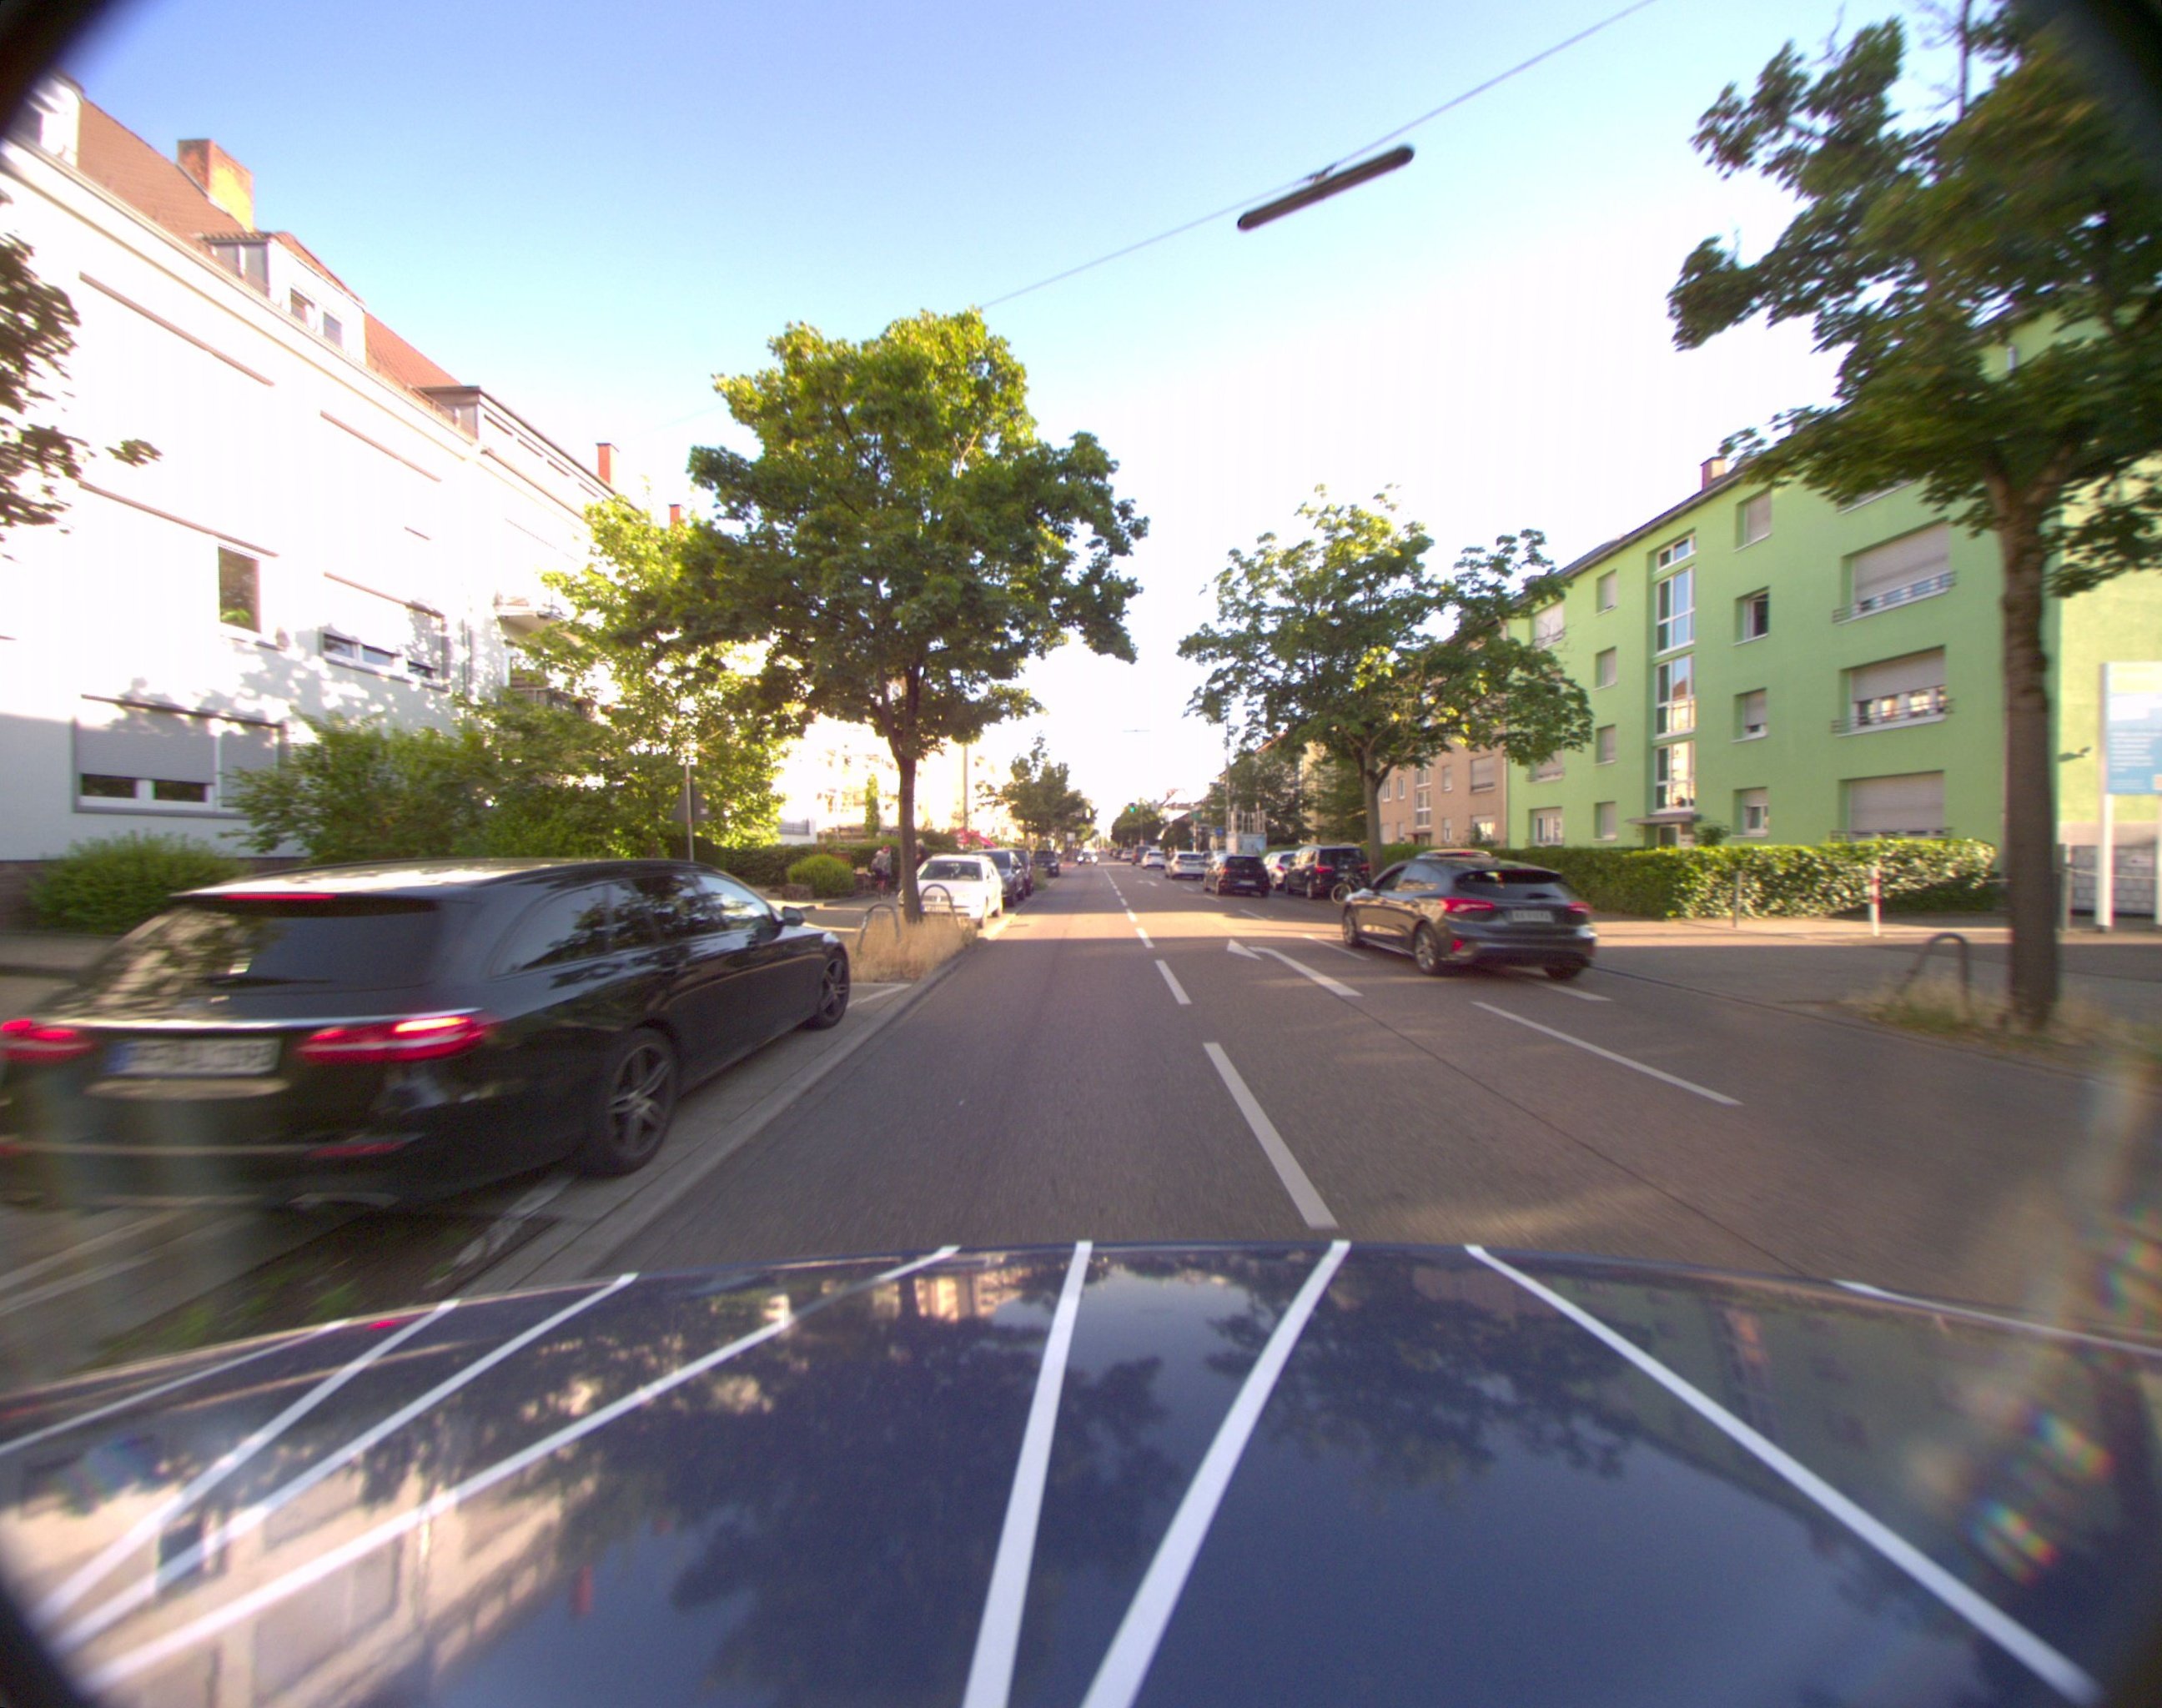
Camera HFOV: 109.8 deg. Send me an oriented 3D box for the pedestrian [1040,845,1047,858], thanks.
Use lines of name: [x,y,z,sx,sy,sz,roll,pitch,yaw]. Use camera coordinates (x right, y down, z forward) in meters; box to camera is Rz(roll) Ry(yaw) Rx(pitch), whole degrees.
pedestrian: [-4.764,-0.367,96.893,0.830,1.673,0.660,0,1,5]

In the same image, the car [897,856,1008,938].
car: [-2.645,0.827,16.589,1.641,1.482,4.415,0,1,1]

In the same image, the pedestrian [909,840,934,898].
pedestrian: [-5.140,0.478,24.494,0.549,1.839,0.764,-1,1,8]

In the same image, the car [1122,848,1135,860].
car: [7.509,-0.069,120.625,1.866,1.819,5.227,1,1,2]

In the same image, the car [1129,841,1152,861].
car: [6.040,-0.333,77.173,1.998,1.935,4.777,1,1,1]

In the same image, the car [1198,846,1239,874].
car: [8.106,0.322,45.096,1.641,1.543,3.785,-1,1,-2]

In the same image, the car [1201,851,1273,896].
car: [5.330,0.623,26.450,1.704,1.395,4.027,1,1,1]

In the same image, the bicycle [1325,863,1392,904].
bicycle: [7.961,0.837,21.824,1.679,1.083,0.560,-2,1,3]

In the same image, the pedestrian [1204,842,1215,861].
pedestrian: [11.685,-0.204,68.942,0.607,1.620,0.751,-3,3,38]

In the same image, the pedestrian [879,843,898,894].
pedestrian: [-6.415,0.468,25.318,0.512,1.687,0.527,-1,1,-4]

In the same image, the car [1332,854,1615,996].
car: [4.936,0.770,10.347,1.704,1.462,4.294,0,1,2]

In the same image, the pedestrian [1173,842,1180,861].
pedestrian: [10.691,-0.291,85.351,0.645,2.002,0.814,-2,2,2]

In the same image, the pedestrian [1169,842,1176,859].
pedestrian: [10.442,-0.385,86.847,0.639,2.002,0.739,-1,1,2]

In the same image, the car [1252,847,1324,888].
car: [8.182,0.474,30.407,1.687,1.512,4.190,-1,1,-1]

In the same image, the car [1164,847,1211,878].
car: [5.569,0.407,40.243,1.837,1.462,4.450,2,1,0]

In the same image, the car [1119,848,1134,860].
car: [6.240,-0.032,104.186,1.841,1.465,4.671,1,1,1]

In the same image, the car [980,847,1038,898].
car: [-2.482,0.586,27.088,1.726,1.646,4.596,-1,1,-2]

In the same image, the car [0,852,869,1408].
car: [-3.008,0.811,4.671,1.879,1.572,4.820,1,1,2]

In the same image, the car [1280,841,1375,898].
car: [8.076,0.439,25.356,1.788,1.723,4.617,-1,1,2]

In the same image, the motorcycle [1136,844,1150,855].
motorcycle: [9.516,-0.695,116.889,1.263,1.526,2.887,-1,1,-13]

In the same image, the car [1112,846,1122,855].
car: [7.982,-0.833,168.814,1.842,1.866,4.408,-1,1,0]

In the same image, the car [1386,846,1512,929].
car: [7.894,0.658,16.537,1.502,1.607,2.861,-1,1,4]

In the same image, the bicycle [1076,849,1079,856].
bicycle: [-0.524,-0.178,106.123,0.325,0.981,1.191,-1,1,5]

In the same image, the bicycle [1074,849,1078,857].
bicycle: [-0.702,-0.169,103.580,0.325,1.138,1.799,-1,1,-4]

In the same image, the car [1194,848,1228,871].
car: [8.500,0.336,49.937,1.657,1.471,3.943,-1,1,2]

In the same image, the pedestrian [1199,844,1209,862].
pedestrian: [11.257,-0.115,69.663,0.750,1.648,0.608,-1,1,-6]

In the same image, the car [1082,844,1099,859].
car: [0.983,-0.230,77.664,1.641,1.482,4.415,0,1,1]

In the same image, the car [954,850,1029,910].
car: [-2.521,0.691,22.279,1.640,1.559,4.000,0,1,1]

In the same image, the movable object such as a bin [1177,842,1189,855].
movable object such as a bin: [13.618,-0.730,101.231,1.309,1.649,1.180,-4,2,1]

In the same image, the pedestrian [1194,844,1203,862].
pedestrian: [10.514,-0.089,67.988,0.608,1.585,0.749,-4,2,-2]

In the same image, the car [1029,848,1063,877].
car: [-2.060,0.446,45.088,1.796,1.622,4.028,-1,1,0]

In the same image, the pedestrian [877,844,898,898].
pedestrian: [-6.166,0.526,24.217,0.512,1.687,0.527,-1,1,-4]

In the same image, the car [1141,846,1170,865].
car: [5.954,0.103,61.160,1.820,1.438,4.109,2,1,0]

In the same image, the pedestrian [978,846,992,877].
pedestrian: [-4.928,0.373,39.120,0.558,1.559,0.747,-1,1,-17]
